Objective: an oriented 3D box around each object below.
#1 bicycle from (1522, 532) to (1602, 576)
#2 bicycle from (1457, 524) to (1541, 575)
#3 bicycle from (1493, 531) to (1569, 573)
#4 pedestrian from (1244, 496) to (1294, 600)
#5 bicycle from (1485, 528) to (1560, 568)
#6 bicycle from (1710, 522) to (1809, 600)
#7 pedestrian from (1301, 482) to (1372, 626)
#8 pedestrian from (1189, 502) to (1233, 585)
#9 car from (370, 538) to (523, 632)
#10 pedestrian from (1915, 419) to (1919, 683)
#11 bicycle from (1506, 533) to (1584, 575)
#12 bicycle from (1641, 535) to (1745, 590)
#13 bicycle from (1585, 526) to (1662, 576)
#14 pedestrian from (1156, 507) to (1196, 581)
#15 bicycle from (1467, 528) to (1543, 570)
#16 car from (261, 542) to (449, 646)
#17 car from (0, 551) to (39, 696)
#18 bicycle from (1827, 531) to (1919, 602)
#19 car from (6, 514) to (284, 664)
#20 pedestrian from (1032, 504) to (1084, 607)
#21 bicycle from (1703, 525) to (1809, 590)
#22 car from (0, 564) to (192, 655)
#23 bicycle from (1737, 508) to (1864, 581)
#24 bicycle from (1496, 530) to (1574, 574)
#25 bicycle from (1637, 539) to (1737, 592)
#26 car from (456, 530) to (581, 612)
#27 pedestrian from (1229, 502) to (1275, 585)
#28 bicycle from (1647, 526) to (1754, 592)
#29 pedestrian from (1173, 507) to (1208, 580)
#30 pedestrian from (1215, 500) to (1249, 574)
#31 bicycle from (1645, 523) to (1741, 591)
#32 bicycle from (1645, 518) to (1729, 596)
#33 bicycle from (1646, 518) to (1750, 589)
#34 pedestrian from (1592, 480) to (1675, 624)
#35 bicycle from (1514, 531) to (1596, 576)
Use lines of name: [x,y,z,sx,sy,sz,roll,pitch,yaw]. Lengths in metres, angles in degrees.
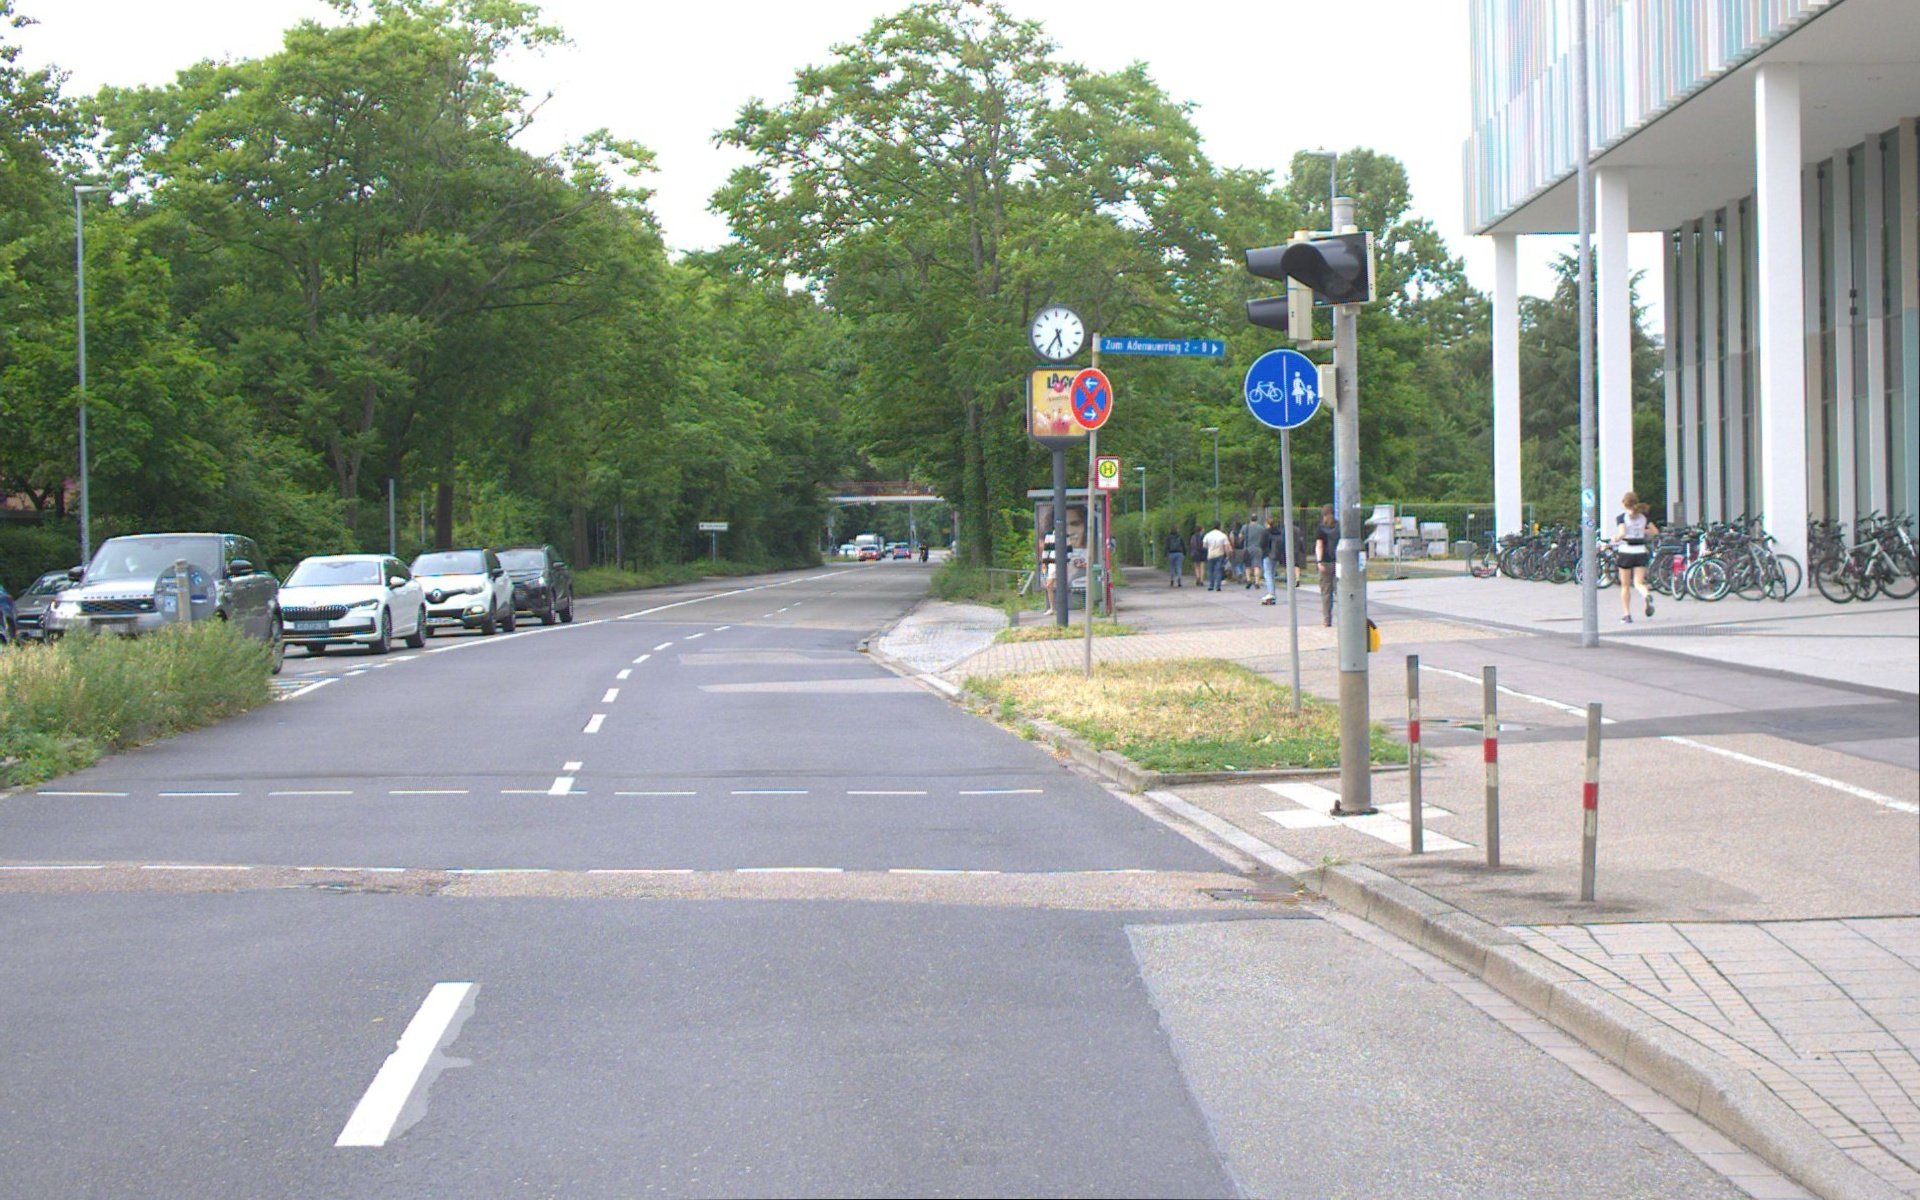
bicycle: [13.014,-1.000,74.347,1.606,0.872,0.556,-2,1,2]
bicycle: [12.551,-1.169,80.107,1.794,1.078,0.626,-4,1,0]
bicycle: [12.812,-1.080,77.143,1.606,0.872,0.556,-2,1,2]
pedestrian: [6.010,-1.012,66.872,0.842,2.007,0.894,-1,1,-1]
bicycle: [12.915,-1.204,78.955,1.606,0.872,0.556,-2,1,-2]
bicycle: [11.653,-0.569,50.164,0.607,1.076,1.963,-4,1,-10]
pedestrian: [5.382,-0.661,49.159,0.842,2.007,0.894,-3,1,3]
pedestrian: [6.224,-1.406,85.290,0.925,2.007,1.040,-2,1,-3]
car: [-9.202,-0.300,61.906,1.993,1.541,4.180,-3,1,1]
pedestrian: [6.761,-0.196,22.362,0.842,2.007,0.894,-1,1,3]
bicycle: [12.852,-1.012,75.540,1.606,0.872,0.556,-2,1,2]
bicycle: [12.302,-0.631,57.696,1.606,0.872,0.556,-1,1,2]
bicycle: [12.252,-0.914,63.505,1.283,0.872,0.556,-2,1,2]
pedestrian: [5.966,-1.561,95.106,0.925,2.007,1.040,-2,1,-3]
bicycle: [12.380,-1.161,78.113,1.606,0.872,0.556,-2,1,2]
car: [-9.050,-0.131,51.808,1.904,1.460,4.911,1,1,1]
car: [-12.125,0.309,39.910,1.698,1.684,4.000,-2,1,1]
bicycle: [12.845,-0.480,48.317,1.484,0.926,0.440,-3,3,-38]
car: [-9.677,-0.184,41.254,1.994,1.681,4.948,0,1,2]
pedestrian: [1.974,-0.899,69.197,0.912,2.006,0.854,-3,3,0]
bicycle: [12.867,-0.685,55.614,1.607,0.932,0.568,-4,2,12]
car: [-14.991,0.125,59.712,1.874,1.419,4.727,2,1,5]
bicycle: [14.342,-0.944,58.726,1.986,1.140,0.647,-2,2,42]
bicycle: [11.696,-0.980,69.951,1.455,0.836,0.556,-2,1,2]
bicycle: [12.682,-0.597,59.967,1.606,0.872,0.556,-2,1,2]
car: [-9.043,-0.615,70.756,1.903,1.588,4.516,-2,1,1]
pedestrian: [7.234,-1.406,85.223,0.925,2.007,1.040,-2,1,-3]
bicycle: [12.294,-0.683,57.112,1.606,0.979,0.556,-4,1,2]
pedestrian: [6.363,-1.565,95.088,0.824,2.007,0.720,-2,1,-3]
pedestrian: [7.529,-1.739,95.213,0.824,2.007,0.720,-2,1,0]
bicycle: [12.054,-0.710,56.548,1.400,1.040,0.559,-3,1,2]
bicycle: [11.195,-0.666,52.978,0.635,1.136,2.201,-4,1,-3]
bicycle: [12.598,-0.792,58.687,1.645,1.087,0.572,-4,1,10]
pedestrian: [8.784,-0.628,44.869,0.842,1.829,0.894,-1,1,-1]
bicycle: [11.885,-0.935,68.714,1.532,0.831,0.556,-2,1,2]
